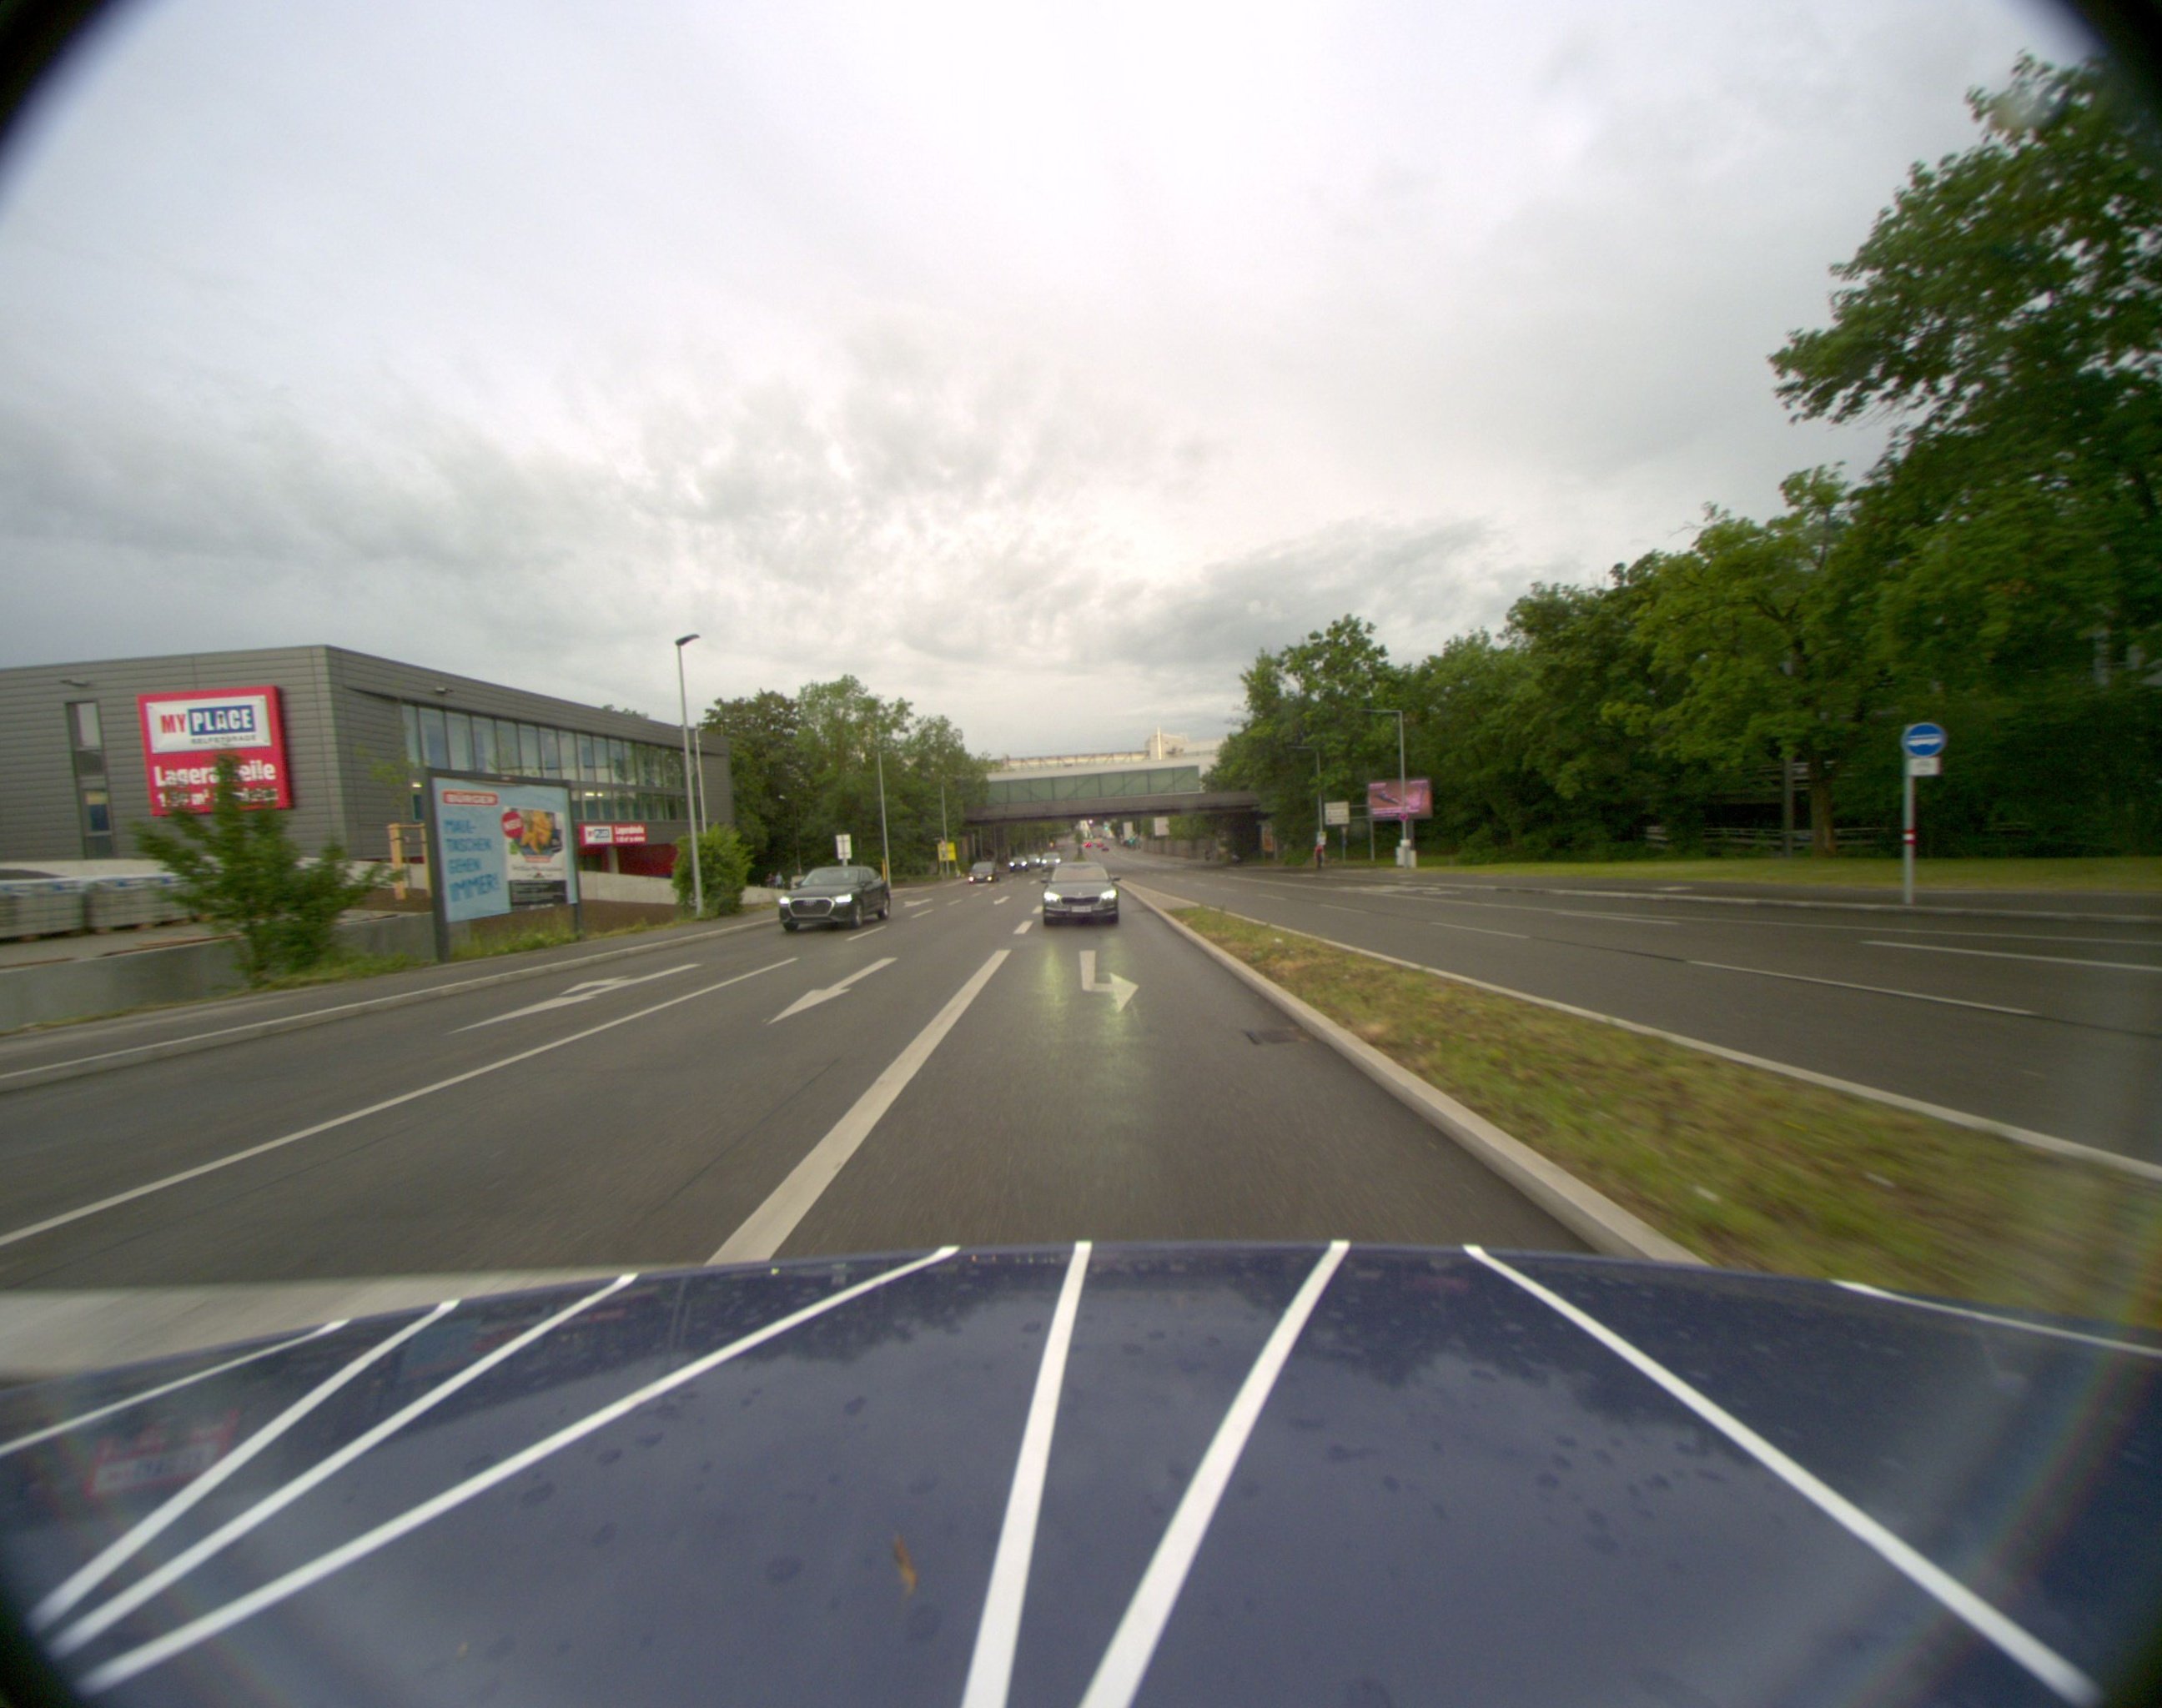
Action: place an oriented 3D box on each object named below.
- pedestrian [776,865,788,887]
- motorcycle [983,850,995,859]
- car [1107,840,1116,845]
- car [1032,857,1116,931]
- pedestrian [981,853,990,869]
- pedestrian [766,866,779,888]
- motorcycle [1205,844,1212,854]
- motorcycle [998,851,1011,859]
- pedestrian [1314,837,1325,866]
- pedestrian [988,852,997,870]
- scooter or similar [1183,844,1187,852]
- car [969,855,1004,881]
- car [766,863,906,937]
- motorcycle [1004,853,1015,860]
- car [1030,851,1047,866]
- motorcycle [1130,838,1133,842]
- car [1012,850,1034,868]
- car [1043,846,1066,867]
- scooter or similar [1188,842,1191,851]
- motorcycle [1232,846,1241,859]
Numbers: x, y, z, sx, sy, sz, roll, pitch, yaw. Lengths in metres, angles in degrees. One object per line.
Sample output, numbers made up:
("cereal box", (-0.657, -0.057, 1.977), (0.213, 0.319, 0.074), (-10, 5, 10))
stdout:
("pedestrian", (-25.384, 1.898, 64.568), (0.585, 1.805, 0.602), (-3, 2, 28))
("motorcycle", (-15.672, 0.005, 129.639), (1.934, 1.357, 0.506), (-5, 3, -5))
("car", (8.579, -3.330, 213.135), (2.069, 1.354, 4.755), (-3, 1, -1))
("car", (-0.156, 0.903, 19.042), (1.820, 1.536, 4.063), (-2, 0, 0))
("pedestrian", (-9.543, 0.704, 75.653), (0.651, 1.587, 0.579), (-2, 2, 12))
("pedestrian", (-25.771, 1.929, 63.512), (0.585, 1.805, 0.626), (-3, 2, 28))
("motorcycle", (15.266, -0.573, 91.003), (0.470, 1.198, 1.996), (-3, 1, 0))
("motorcycle", (-11.977, 0.116, 118.853), (1.855, 1.184, 0.521), (-3, 2, -15))
("pedestrian", (15.177, -0.143, 48.345), (0.520, 1.805, 0.799), (-4, 1, 10))
("pedestrian", (-8.801, 0.671, 75.565), (0.612, 1.711, 0.892), (-2, 2, 10))
("scooter or similar", (15.329, -0.883, 112.093), (0.312, 1.211, 1.307), (-3, 1, 0))
("car", (-6.567, 0.942, 53.250), (1.749, 1.422, 4.515), (-4, 2, 0))
("car", (-6.264, 1.093, 20.234), (1.820, 1.536, 5.608), (-2, 0, 0))
("motorcycle", (-12.182, 0.403, 128.861), (1.656, 1.144, 0.493), (-5, 3, 8))
("car", (-5.408, 0.569, 97.853), (1.820, 1.571, 4.330), (-4, 2, 0))
("motorcycle", (14.639, -4.047, 220.911), (0.569, 1.156, 2.038), (-2, 2, -1))
("car", (-6.171, 0.532, 81.266), (1.825, 1.581, 4.330), (-4, 2, 0))
("car", (-2.719, 0.220, 78.781), (2.035, 1.920, 4.330), (-4, 2, 0))
("scooter or similar", (15.307, -1.007, 107.186), (0.312, 1.211, 1.308), (-2, 1, 5))
("motorcycle", (15.251, -0.151, 74.583), (0.469, 1.152, 1.932), (-3, 1, 3))
